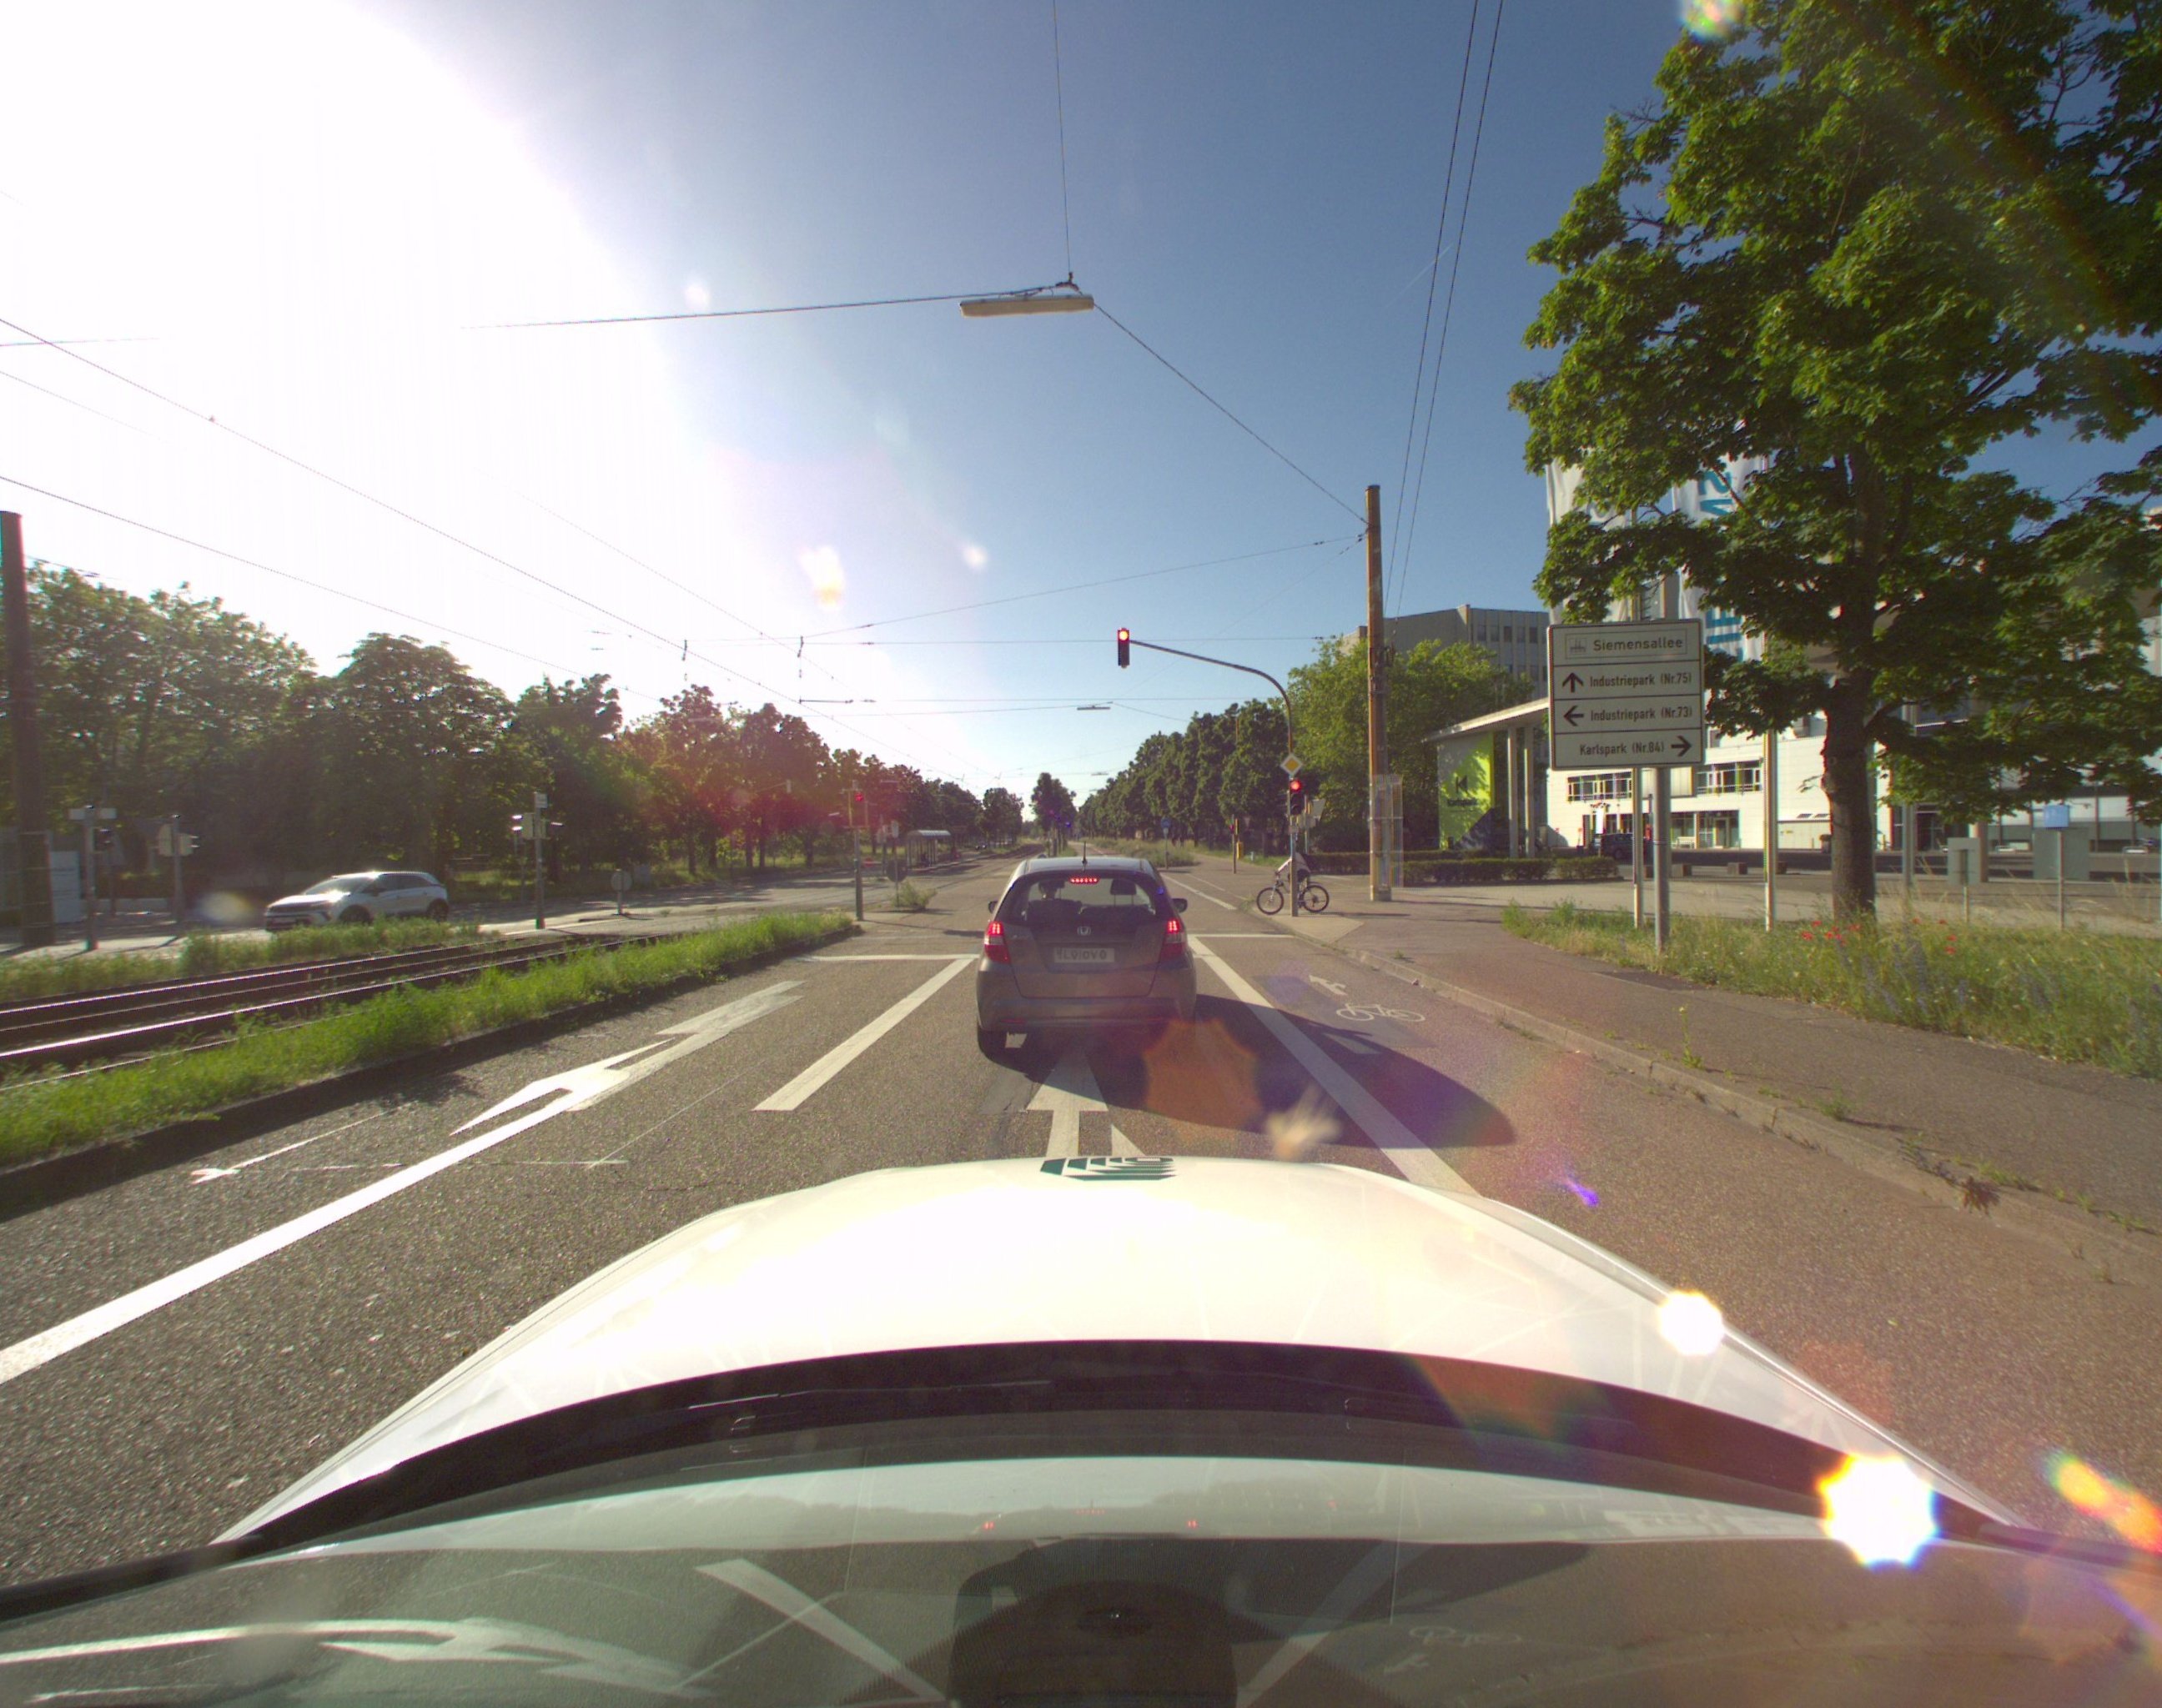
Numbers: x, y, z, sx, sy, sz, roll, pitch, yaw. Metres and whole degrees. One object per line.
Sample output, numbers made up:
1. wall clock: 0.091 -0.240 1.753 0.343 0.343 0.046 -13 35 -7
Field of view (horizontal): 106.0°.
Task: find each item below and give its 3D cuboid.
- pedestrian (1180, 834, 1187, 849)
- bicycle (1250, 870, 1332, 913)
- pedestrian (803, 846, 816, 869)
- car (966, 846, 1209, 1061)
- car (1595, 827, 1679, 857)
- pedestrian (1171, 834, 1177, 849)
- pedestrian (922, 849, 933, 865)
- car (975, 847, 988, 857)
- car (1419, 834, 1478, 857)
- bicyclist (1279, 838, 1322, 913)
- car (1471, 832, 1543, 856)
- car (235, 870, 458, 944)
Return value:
1. pedestrian: 11.063 -1.371 88.196 0.676 1.610 0.720 0 0 -1
2. bicycle: 5.095 0.892 19.831 1.907 0.998 0.767 0 0 12
3. pedestrian: -24.284 0.335 72.835 0.837 2.013 0.863 -1 0 0
4. car: 0.132 0.699 7.739 1.700 1.509 4.002 -1 0 2
5. car: 33.734 -0.702 49.447 3.984 1.720 1.895 -1 0 -8
6. pedestrian: 10.100 -1.329 88.089 0.565 1.596 0.665 0 0 -2
7. pedestrian: -12.465 0.228 66.107 0.718 1.246 0.710 -2 0 0
8. car: -18.230 -0.403 149.564 1.761 1.738 3.999 -1 0 0
9. car: 30.141 -0.711 66.784 3.989 1.757 1.993 -1 0 -11
10. bicyclist: 5.317 0.510 19.782 0.904 1.745 0.767 -3 -1 12
11. car: 31.209 -0.744 59.704 4.538 1.629 1.869 -1 0 -11
12. car: -18.934 1.288 21.312 1.843 1.606 4.257 -1 0 2
